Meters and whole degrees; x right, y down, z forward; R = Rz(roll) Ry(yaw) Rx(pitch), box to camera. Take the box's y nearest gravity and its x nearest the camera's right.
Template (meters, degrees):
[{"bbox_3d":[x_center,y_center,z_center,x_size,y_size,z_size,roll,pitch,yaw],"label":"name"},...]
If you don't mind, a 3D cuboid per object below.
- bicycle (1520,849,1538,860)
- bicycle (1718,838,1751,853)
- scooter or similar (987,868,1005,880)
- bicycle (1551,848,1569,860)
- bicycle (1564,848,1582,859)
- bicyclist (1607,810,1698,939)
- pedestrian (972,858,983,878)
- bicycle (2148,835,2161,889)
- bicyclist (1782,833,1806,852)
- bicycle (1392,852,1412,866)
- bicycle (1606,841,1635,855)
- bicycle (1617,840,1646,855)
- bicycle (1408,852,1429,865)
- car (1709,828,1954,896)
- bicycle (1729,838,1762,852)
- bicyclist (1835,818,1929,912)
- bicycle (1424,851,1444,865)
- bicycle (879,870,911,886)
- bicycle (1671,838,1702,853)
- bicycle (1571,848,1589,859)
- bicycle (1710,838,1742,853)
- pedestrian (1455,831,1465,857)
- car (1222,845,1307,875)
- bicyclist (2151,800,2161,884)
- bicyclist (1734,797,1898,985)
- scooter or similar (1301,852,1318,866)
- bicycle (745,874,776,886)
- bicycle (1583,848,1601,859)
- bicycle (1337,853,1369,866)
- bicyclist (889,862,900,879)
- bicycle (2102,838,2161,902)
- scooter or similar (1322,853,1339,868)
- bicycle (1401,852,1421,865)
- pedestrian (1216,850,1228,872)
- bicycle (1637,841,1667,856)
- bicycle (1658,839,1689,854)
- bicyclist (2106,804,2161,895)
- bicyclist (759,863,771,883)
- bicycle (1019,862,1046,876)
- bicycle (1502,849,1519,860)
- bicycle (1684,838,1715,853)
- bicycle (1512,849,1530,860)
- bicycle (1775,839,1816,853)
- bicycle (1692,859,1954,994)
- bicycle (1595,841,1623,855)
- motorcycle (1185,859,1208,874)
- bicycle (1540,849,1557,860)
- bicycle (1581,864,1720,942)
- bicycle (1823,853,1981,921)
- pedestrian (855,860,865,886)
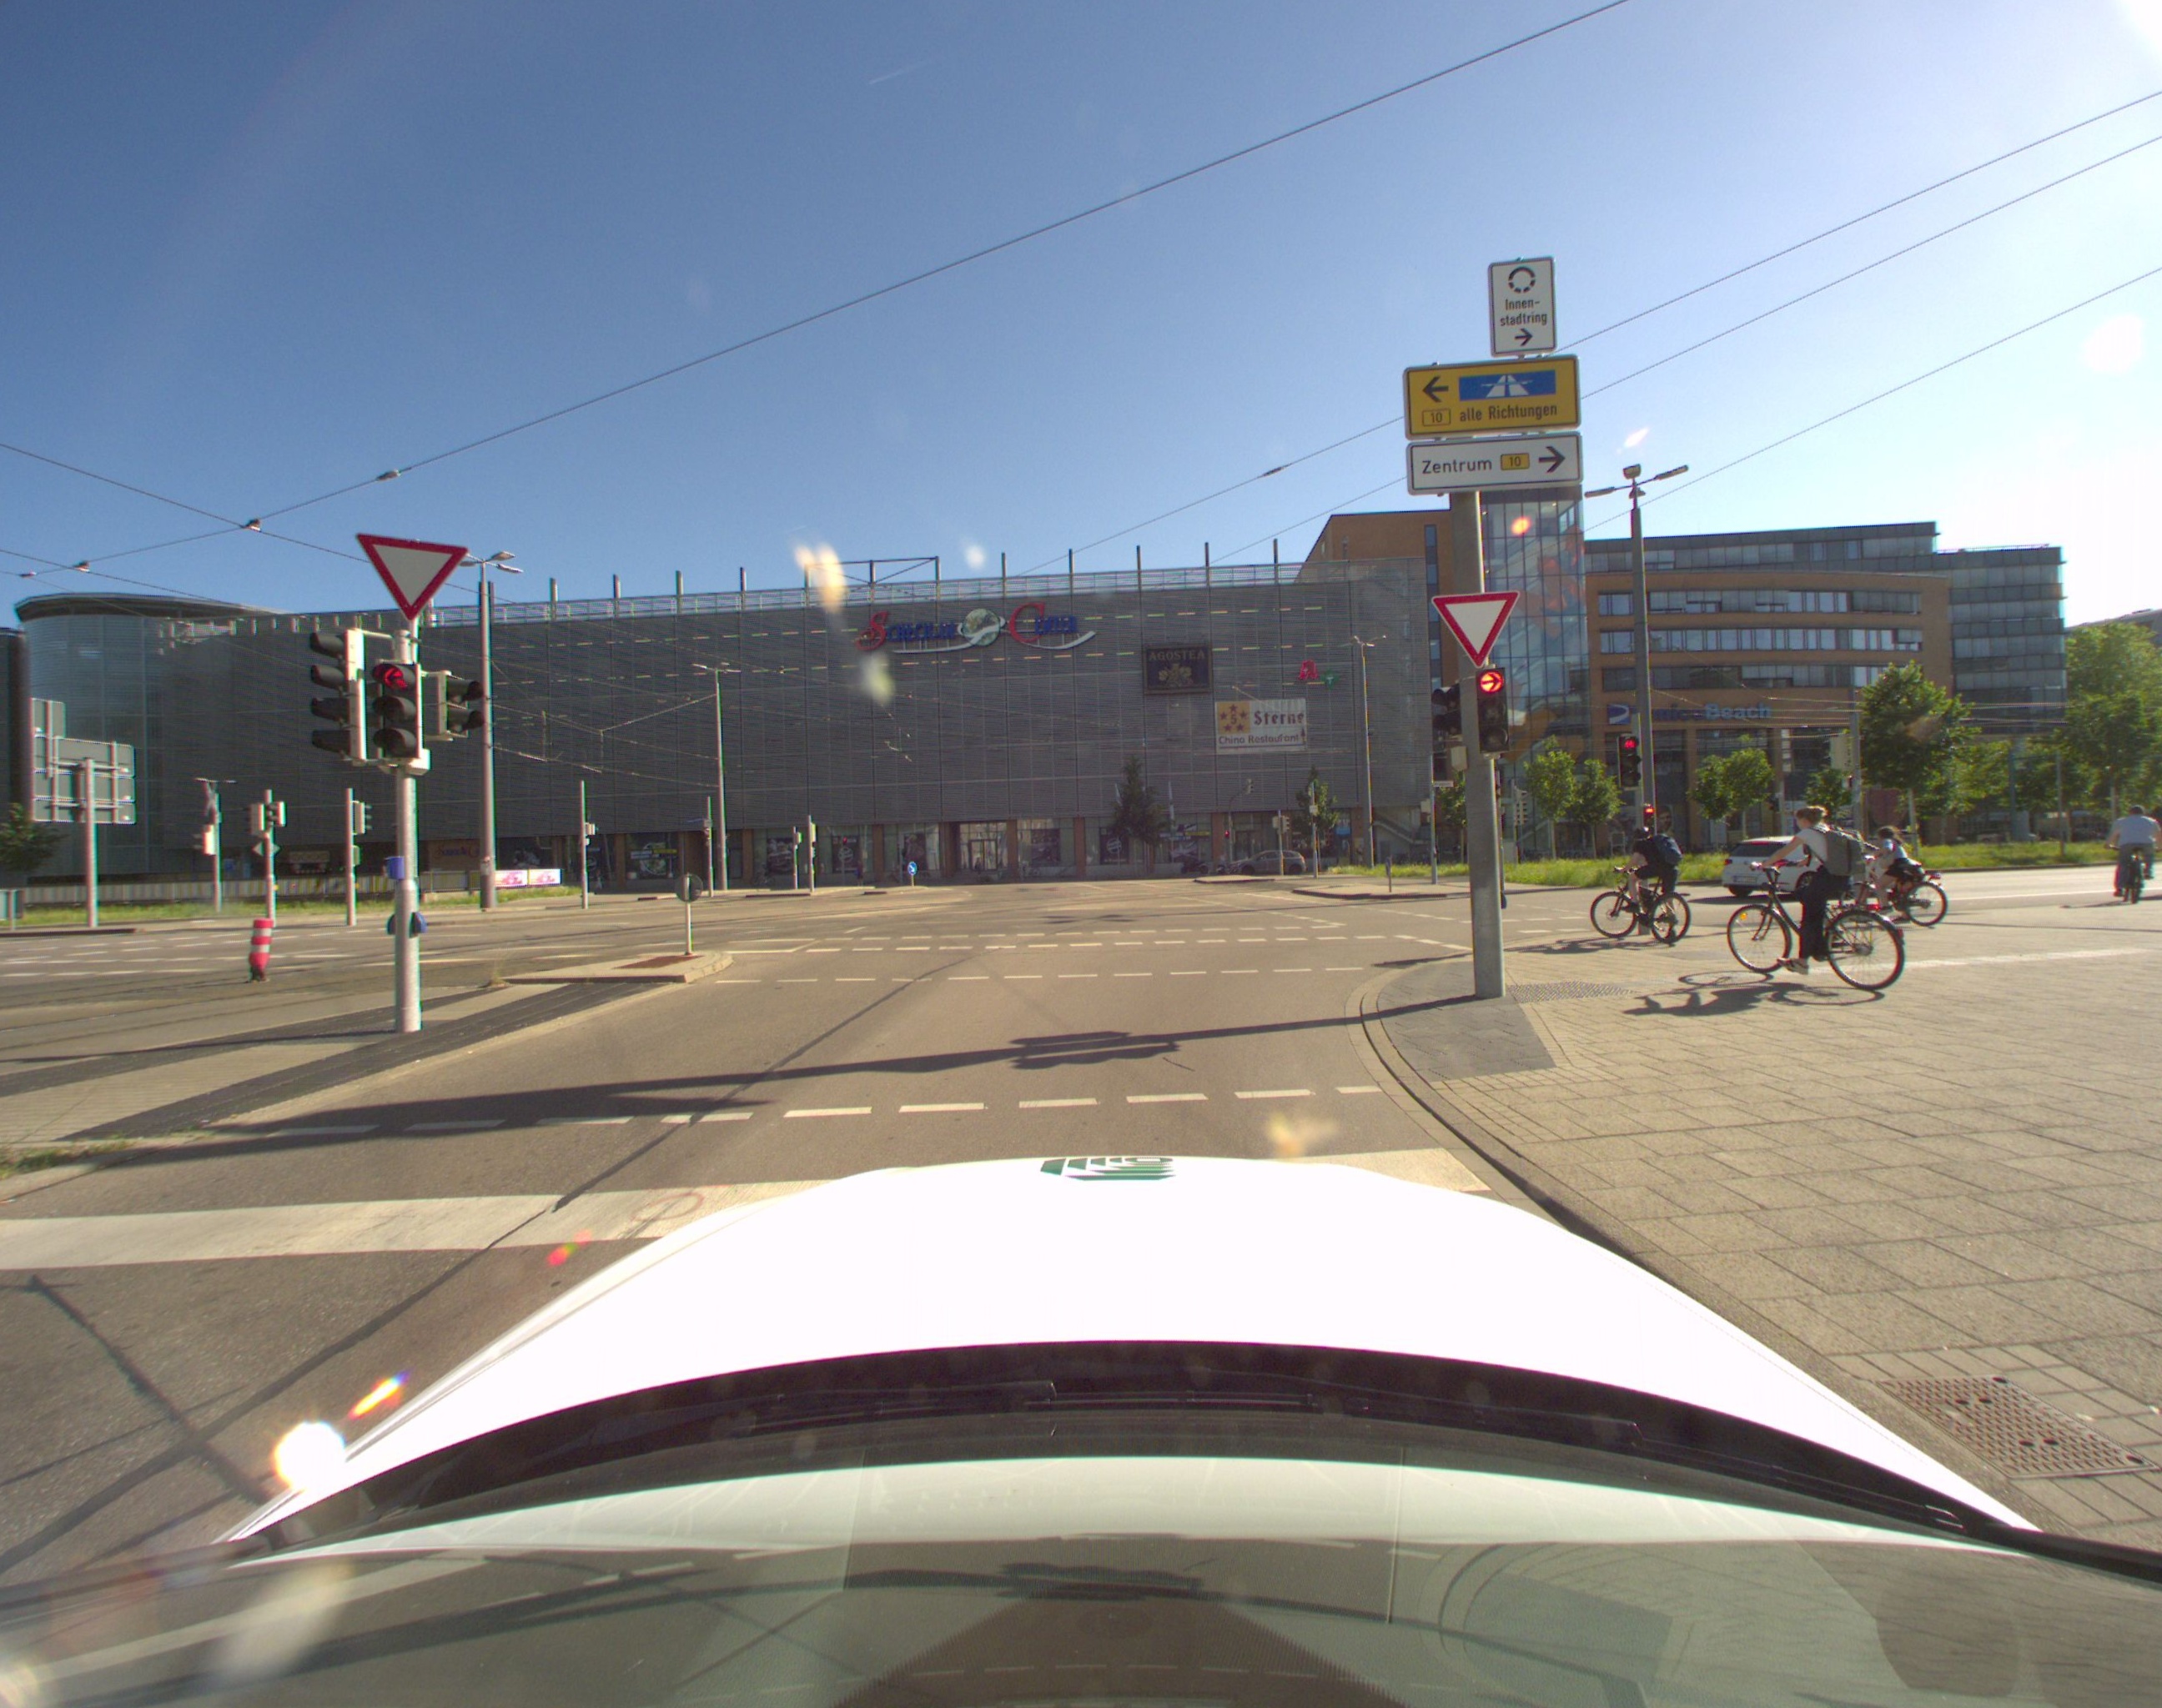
[{"bbox_3d":[34.205,0.032,62.207,0.443,0.819,1.449,-2,1,-3],"label":"bicycle"},{"bbox_3d":[52.084,-0.697,64.905,0.749,1.123,2.178,-2,1,-3],"label":"bicycle"},{"bbox_3d":[-5.928,1.389,56.644,1.219,0.851,0.301,-2,-1,-1],"label":"scooter or similar"},{"bbox_3d":[36.273,-0.004,61.688,0.443,0.819,1.449,-2,1,-3],"label":"bicycle"},{"bbox_3d":[37.632,-0.009,62.310,0.443,0.819,1.449,-2,1,-3],"label":"bicycle"},{"bbox_3d":[8.328,0.299,11.906,0.547,1.798,0.905,-3,-2,-3],"label":"bicyclist"},{"bbox_3d":[-7.716,1.043,60.753,0.644,1.519,0.492,-2,-1,6],"label":"pedestrian"},{"bbox_3d":[23.272,0.164,16.793,1.748,1.110,0.650,0,-2,-3],"label":"bicycle"},{"bbox_3d":[54.656,-0.911,62.419,1.303,1.407,0.594,-2,-1,3],"label":"bicyclist"},{"bbox_3d":[24.041,0.350,61.023,0.490,0.954,2.178,-2,1,-3],"label":"bicycle"},{"bbox_3d":[43.397,-0.501,65.544,0.749,1.123,2.178,-2,1,-3],"label":"bicycle"},{"bbox_3d":[44.206,-0.512,65.456,0.749,1.123,2.178,-2,1,-3],"label":"bicycle"},{"bbox_3d":[25.340,0.313,61.176,0.490,0.954,2.178,-2,1,-3],"label":"bicycle"},{"bbox_3d":[17.334,0.142,18.932,4.271,1.403,1.776,-2,2,-4],"label":"car"},{"bbox_3d":[52.942,-0.707,64.871,0.749,1.123,2.178,-2,1,-3],"label":"bicycle"},{"bbox_3d":[12.647,0.174,12.879,0.585,1.404,0.827,-3,-2,1],"label":"bicyclist"},{"bbox_3d":[26.480,0.281,61.123,0.490,0.954,2.178,-2,1,-3],"label":"bicycle"},{"bbox_3d":[-12.586,1.608,55.270,2.028,0.985,0.554,-2,-1,-31],"label":"bicycle"},{"bbox_3d":[48.328,-0.668,65.016,0.749,1.123,2.178,-2,1,-3],"label":"bicycle"},{"bbox_3d":[38.189,-0.018,62.360,0.443,0.819,1.449,-2,1,-3],"label":"bicycle"},{"bbox_3d":[51.242,-0.692,64.752,0.749,1.123,2.178,-2,1,-3],"label":"bicycle"},{"bbox_3d":[28.403,-0.734,61.012,0.536,1.915,0.375,-1,-1,9],"label":"pedestrian"},{"bbox_3d":[10.224,0.356,45.554,4.284,1.499,1.998,-2,0,-2],"label":"car"},{"bbox_3d":[23.053,-0.283,16.805,1.039,1.752,0.651,-3,-1,-2],"label":"bicyclist"},{"bbox_3d":[6.978,0.334,7.793,0.591,1.654,1.004,-3,-1,2],"label":"bicyclist"},{"bbox_3d":[17.227,0.387,61.461,1.196,1.103,0.277,0,-1,4],"label":"scooter or similar"},{"bbox_3d":[-23.445,1.911,59.628,2.008,0.811,0.560,-2,-1,0],"label":"bicycle"},{"bbox_3d":[39.119,-0.050,62.370,0.443,0.819,1.449,-2,1,-3],"label":"bicycle"},{"bbox_3d":[19.445,0.374,58.319,2.034,0.867,0.682,-2,-1,1],"label":"bicycle"},{"bbox_3d":[-12.654,1.122,55.244,0.565,1.139,0.554,-1,-1,-31],"label":"bicyclist"},{"bbox_3d":[19.833,0.268,15.327,2.711,1.069,0.681,-3,1,-41],"label":"bicycle"},{"bbox_3d":[18.873,0.498,61.687,1.196,1.103,0.277,0,-1,4],"label":"scooter or similar"},{"bbox_3d":[24.742,0.318,61.166,0.490,0.954,2.178,-2,1,-3],"label":"bicycle"},{"bbox_3d":[9.594,0.498,55.541,0.734,1.487,0.491,-2,-1,11],"label":"pedestrian"},{"bbox_3d":[45.690,-0.446,65.204,0.749,1.123,2.178,-2,1,-3],"label":"bicycle"},{"bbox_3d":[47.325,-0.612,65.052,0.749,1.123,2.178,-2,1,-3],"label":"bicycle"},{"bbox_3d":[19.911,-0.103,15.401,1.025,1.669,0.612,-2,1,-41],"label":"bicyclist"},{"bbox_3d":[-23.150,1.375,59.632,0.652,1.410,0.560,-2,-1,0],"label":"bicyclist"},{"bbox_3d":[-3.629,1.115,60.826,1.940,1.038,0.572,-2,-1,-3],"label":"bicycle"},{"bbox_3d":[32.660,0.041,61.899,0.443,0.819,1.449,-2,1,-3],"label":"bicycle"},{"bbox_3d":[49.363,-0.676,65.033,0.749,1.123,2.178,-2,1,-3],"label":"bicycle"},{"bbox_3d":[33.535,0.047,62.089,0.443,0.819,1.449,-2,1,-3],"label":"bicycle"},{"bbox_3d":[54.753,-0.632,62.412,2.550,1.010,0.598,-2,-1,3],"label":"bicycle"},{"bbox_3d":[7.005,0.619,7.871,0.692,1.105,2.012,-3,0,2],"label":"bicycle"},{"bbox_3d":[42.327,-0.491,65.338,0.749,1.123,2.178,-2,1,-3],"label":"bicycle"},{"bbox_3d":[8.592,0.949,60.601,1.607,1.038,0.402,-2,-1,2],"label":"motorcycle"},{"bbox_3d":[35.488,0.019,61.829,0.443,0.819,1.449,-2,1,-3],"label":"bicycle"},{"bbox_3d":[8.342,0.694,12.042,0.603,1.038,1.893,-3,-2,-3],"label":"bicycle"},{"bbox_3d":[12.647,0.499,12.628,0.692,0.954,1.708,-3,-2,2],"label":"bicycle"},{"bbox_3d":[-15.097,1.308,55.626,0.625,1.751,0.585,-2,-1,-17],"label":"pedestrian"}]
